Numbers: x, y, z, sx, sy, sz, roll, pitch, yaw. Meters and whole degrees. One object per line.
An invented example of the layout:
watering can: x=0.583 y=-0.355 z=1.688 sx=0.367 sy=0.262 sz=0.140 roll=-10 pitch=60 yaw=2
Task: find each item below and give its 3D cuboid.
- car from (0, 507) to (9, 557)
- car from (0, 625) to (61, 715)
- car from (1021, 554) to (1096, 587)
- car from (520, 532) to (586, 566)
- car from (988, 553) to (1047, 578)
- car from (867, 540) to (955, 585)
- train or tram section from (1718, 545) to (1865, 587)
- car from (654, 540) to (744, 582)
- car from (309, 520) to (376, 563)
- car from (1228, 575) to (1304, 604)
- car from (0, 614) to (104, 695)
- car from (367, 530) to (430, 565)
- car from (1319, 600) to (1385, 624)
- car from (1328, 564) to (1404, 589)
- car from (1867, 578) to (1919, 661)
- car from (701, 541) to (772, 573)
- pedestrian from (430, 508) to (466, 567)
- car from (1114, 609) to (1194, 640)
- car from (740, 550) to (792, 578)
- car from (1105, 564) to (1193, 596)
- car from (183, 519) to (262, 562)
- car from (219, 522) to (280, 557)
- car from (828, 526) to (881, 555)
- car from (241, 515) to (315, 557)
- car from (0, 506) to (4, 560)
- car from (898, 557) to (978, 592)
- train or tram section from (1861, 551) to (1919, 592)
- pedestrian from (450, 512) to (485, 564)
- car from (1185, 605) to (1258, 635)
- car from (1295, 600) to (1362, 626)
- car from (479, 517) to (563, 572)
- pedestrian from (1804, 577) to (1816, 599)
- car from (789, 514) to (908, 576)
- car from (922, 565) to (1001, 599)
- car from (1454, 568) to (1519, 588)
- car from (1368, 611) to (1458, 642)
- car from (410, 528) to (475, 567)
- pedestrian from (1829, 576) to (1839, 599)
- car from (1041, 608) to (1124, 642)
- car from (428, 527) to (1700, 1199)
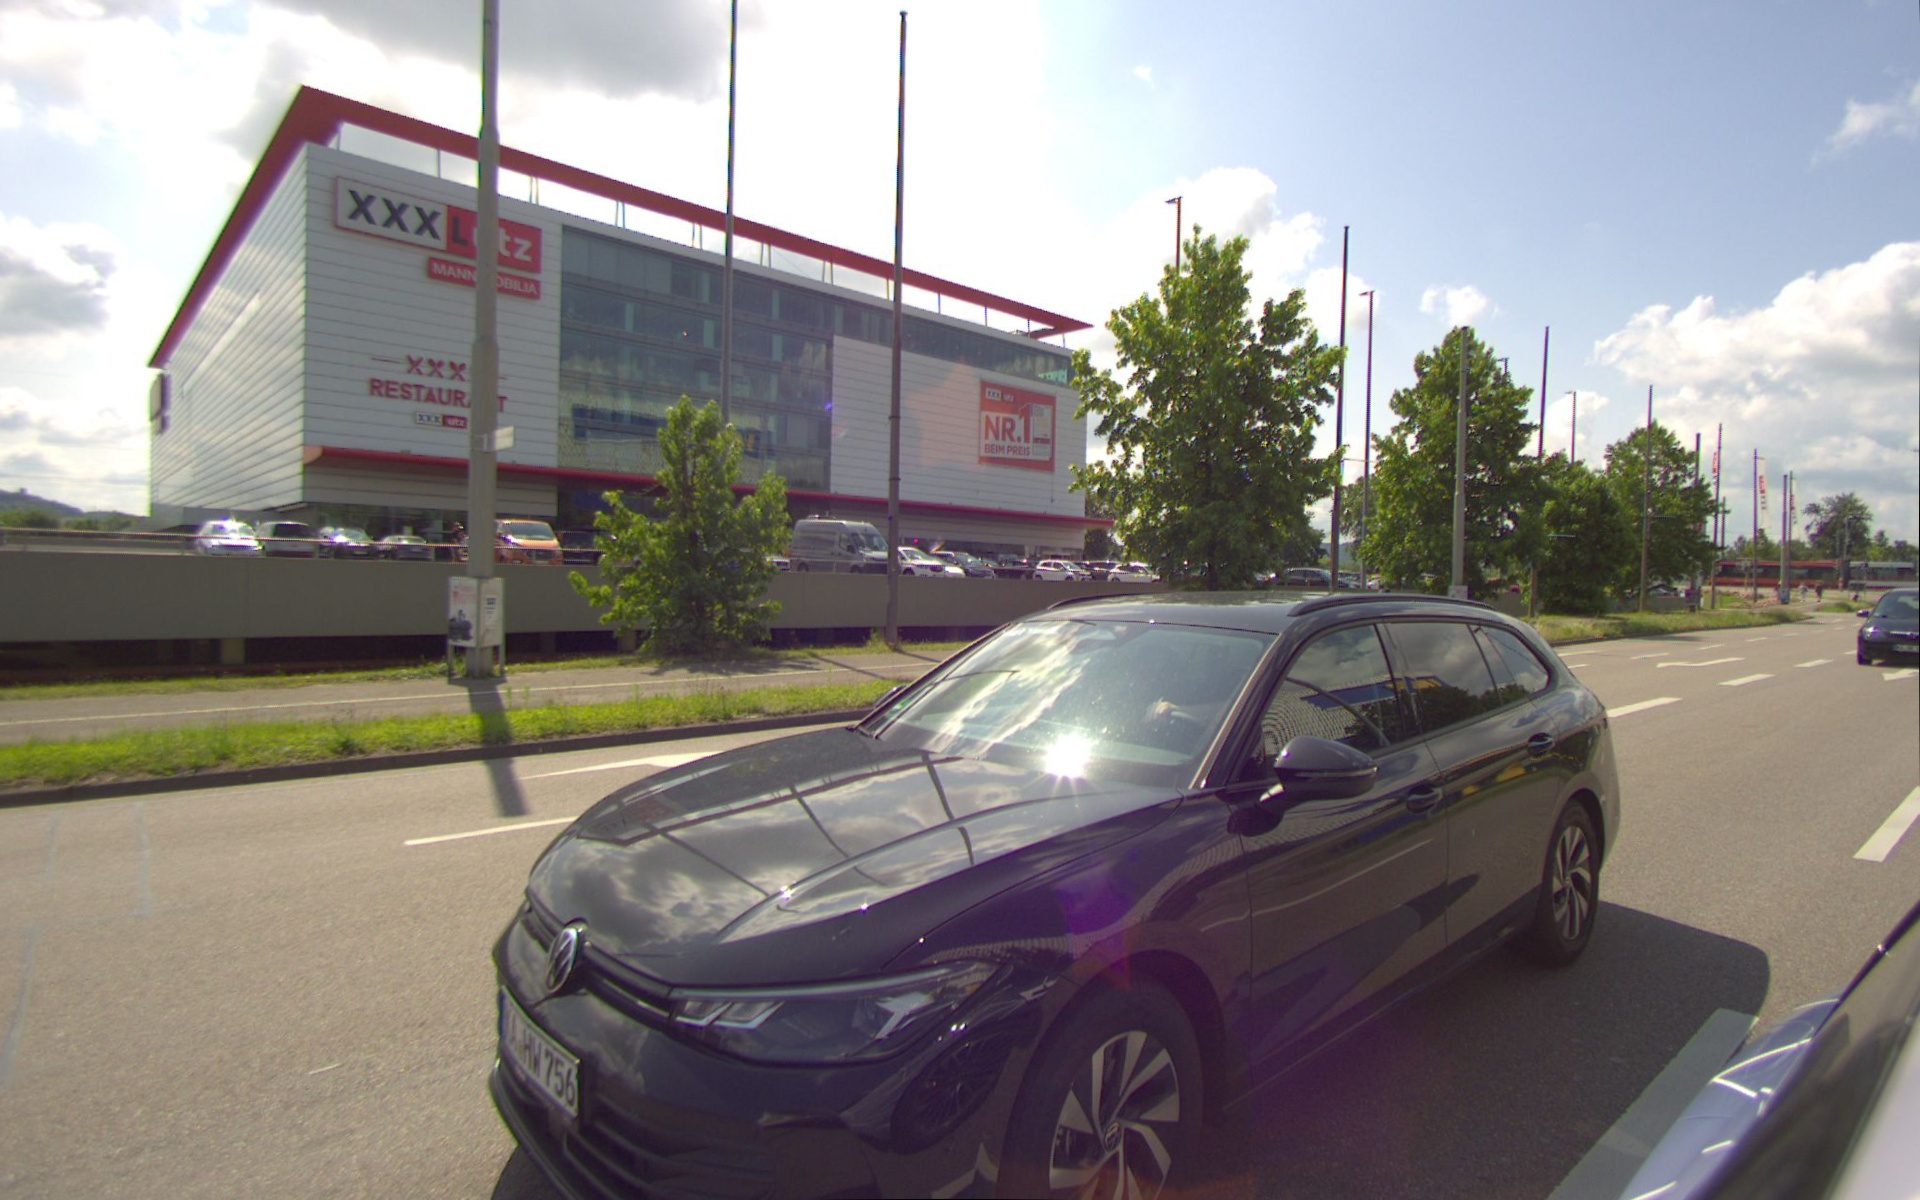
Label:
car: x=-37.492 y=-2.526 z=36.628 sx=1.948 sy=1.808 sz=4.355 roll=1 pitch=1 yaw=43
car: x=-21.302 y=1.500 z=20.958 sx=3.935 sy=1.772 sz=1.995 roll=-1 pitch=1 yaw=-45
car: x=5.703 y=-1.697 z=59.008 sx=1.534 sy=1.786 sz=4.412 roll=-1 pitch=1 yaw=-44
car: x=-21.006 y=-2.598 z=52.145 sx=1.920 sy=1.625 sz=4.418 roll=-1 pitch=1 yaw=-40
car: x=3.845 y=-2.291 z=68.892 sx=1.916 sy=1.625 sz=4.428 roll=0 pitch=1 yaw=-30
car: x=-2.153 y=-1.575 z=43.342 sx=1.719 sy=1.816 sz=3.995 roll=-1 pitch=1 yaw=-40
train or tram section: x=97.887 y=-3.868 z=119.417 sx=3.670 sy=4.618 sz=13.077 roll=-1 pitch=1 yaw=-43
car: x=-10.794 y=-1.551 z=41.683 sx=1.920 sy=1.625 sz=4.418 roll=-1 pitch=1 yaw=-40
car: x=-27.961 y=-2.593 z=45.778 sx=1.884 sy=1.772 sz=3.993 roll=-1 pitch=1 yaw=-41
car: x=18.068 y=-0.633 z=59.847 sx=1.746 sy=1.624 sz=3.996 roll=-1 pitch=1 yaw=-39
car: x=-22.864 y=1.283 z=23.603 sx=4.292 sy=1.772 sz=1.995 roll=-1 pitch=1 yaw=-45
car: x=-26.444 y=-2.421 z=47.581 sx=1.534 sy=1.489 sz=4.412 roll=-1 pitch=1 yaw=-44
car: x=29.800 y=0.889 z=76.988 sx=1.534 sy=1.786 sz=4.412 roll=-1 pitch=1 yaw=-44
car: x=27.595 y=-1.603 z=68.840 sx=1.921 sy=1.625 sz=4.416 roll=-1 pitch=1 yaw=-41
car: x=19.543 y=0.360 z=20.261 sx=4.196 sy=1.549 sz=1.605 roll=0 pitch=1 yaw=-42
car: x=-11.922 y=-2.255 z=53.774 sx=1.920 sy=1.625 sz=4.418 roll=-1 pitch=1 yaw=-40
pedestrian: x=-18.299 y=-2.219 z=36.176 sx=0.895 sy=2.039 sz=0.706 roll=-1 pitch=0 yaw=4
car: x=11.427 y=1.414 z=59.823 sx=1.922 sy=1.625 sz=4.414 roll=-1 pitch=1 yaw=-43
car: x=-11.698 y=-2.111 z=60.849 sx=1.915 sy=1.625 sz=4.430 roll=0 pitch=1 yaw=-27
car: x=10.064 y=-1.085 z=54.119 sx=1.921 sy=1.625 sz=4.416 roll=-1 pitch=1 yaw=-41
car: x=-28.498 y=-2.243 z=39.068 sx=1.923 sy=1.489 sz=4.412 roll=-1 pitch=1 yaw=-44
car: x=-36.653 y=-3.058 z=52.174 sx=1.923 sy=1.625 sz=4.412 roll=-1 pitch=1 yaw=-44
car: x=-6.743 y=-3.745 z=64.512 sx=1.915 sy=1.625 sz=4.430 roll=0 pitch=1 yaw=-27
car: x=-29.512 y=-2.706 z=43.746 sx=1.923 sy=1.625 sz=4.412 roll=-1 pitch=1 yaw=-44
car: x=-31.384 y=-2.032 z=29.968 sx=1.948 sy=1.625 sz=4.355 roll=1 pitch=1 yaw=43
car: x=-1.124 y=-1.230 z=49.764 sx=1.917 sy=1.625 sz=4.425 roll=-1 pitch=1 yaw=-33
train or tram section: x=106.757 y=-3.042 z=109.784 sx=3.670 sy=4.424 sz=13.082 roll=-1 pitch=3 yaw=-43
pedestrian: x=-17.345 y=-2.177 z=35.654 sx=1.014 sy=1.764 sz=0.698 roll=0 pitch=1 yaw=36
car: x=16.678 y=1.257 z=64.686 sx=1.534 sy=1.786 sz=4.412 roll=-1 pitch=1 yaw=-44
car: x=27.044 y=0.934 z=74.302 sx=1.534 sy=1.786 sz=4.412 roll=-1 pitch=1 yaw=-44
car: x=-15.654 y=-1.924 z=35.963 sx=1.881 sy=1.772 sz=4.187 roll=-1 pitch=1 yaw=-36
pedestrian: x=71.816 y=-1.002 z=85.495 sx=0.698 sy=1.836 sz=0.540 roll=-1 pitch=0 yaw=28
car: x=-4.685 y=-2.182 z=41.738 sx=1.721 sy=2.312 sz=5.784 roll=-1 pitch=1 yaw=-44
car: x=0.025 y=-0.914 z=51.686 sx=1.917 sy=1.625 sz=4.425 roll=-1 pitch=1 yaw=-33
car: x=44.113 y=-1.851 z=84.827 sx=1.921 sy=1.625 sz=4.416 roll=-1 pitch=1 yaw=-41
car: x=26.408 y=1.505 z=59.103 sx=1.921 sy=1.625 sz=4.416 roll=-1 pitch=1 yaw=-41
car: x=-25.218 y=-2.515 z=49.278 sx=1.884 sy=1.772 sz=3.993 roll=-1 pitch=1 yaw=-41
pedestrian: x=73.030 y=-1.043 z=84.570 sx=0.523 sy=1.836 sz=0.669 roll=-1 pitch=0 yaw=33
car: x=6.616 y=1.304 z=54.934 sx=1.919 sy=1.625 sz=4.420 roll=-1 pitch=1 yaw=-38
car: x=1.027 y=0.599 z=3.819 sx=5.114 sy=1.496 sz=1.811 roll=-1 pitch=1 yaw=-42
